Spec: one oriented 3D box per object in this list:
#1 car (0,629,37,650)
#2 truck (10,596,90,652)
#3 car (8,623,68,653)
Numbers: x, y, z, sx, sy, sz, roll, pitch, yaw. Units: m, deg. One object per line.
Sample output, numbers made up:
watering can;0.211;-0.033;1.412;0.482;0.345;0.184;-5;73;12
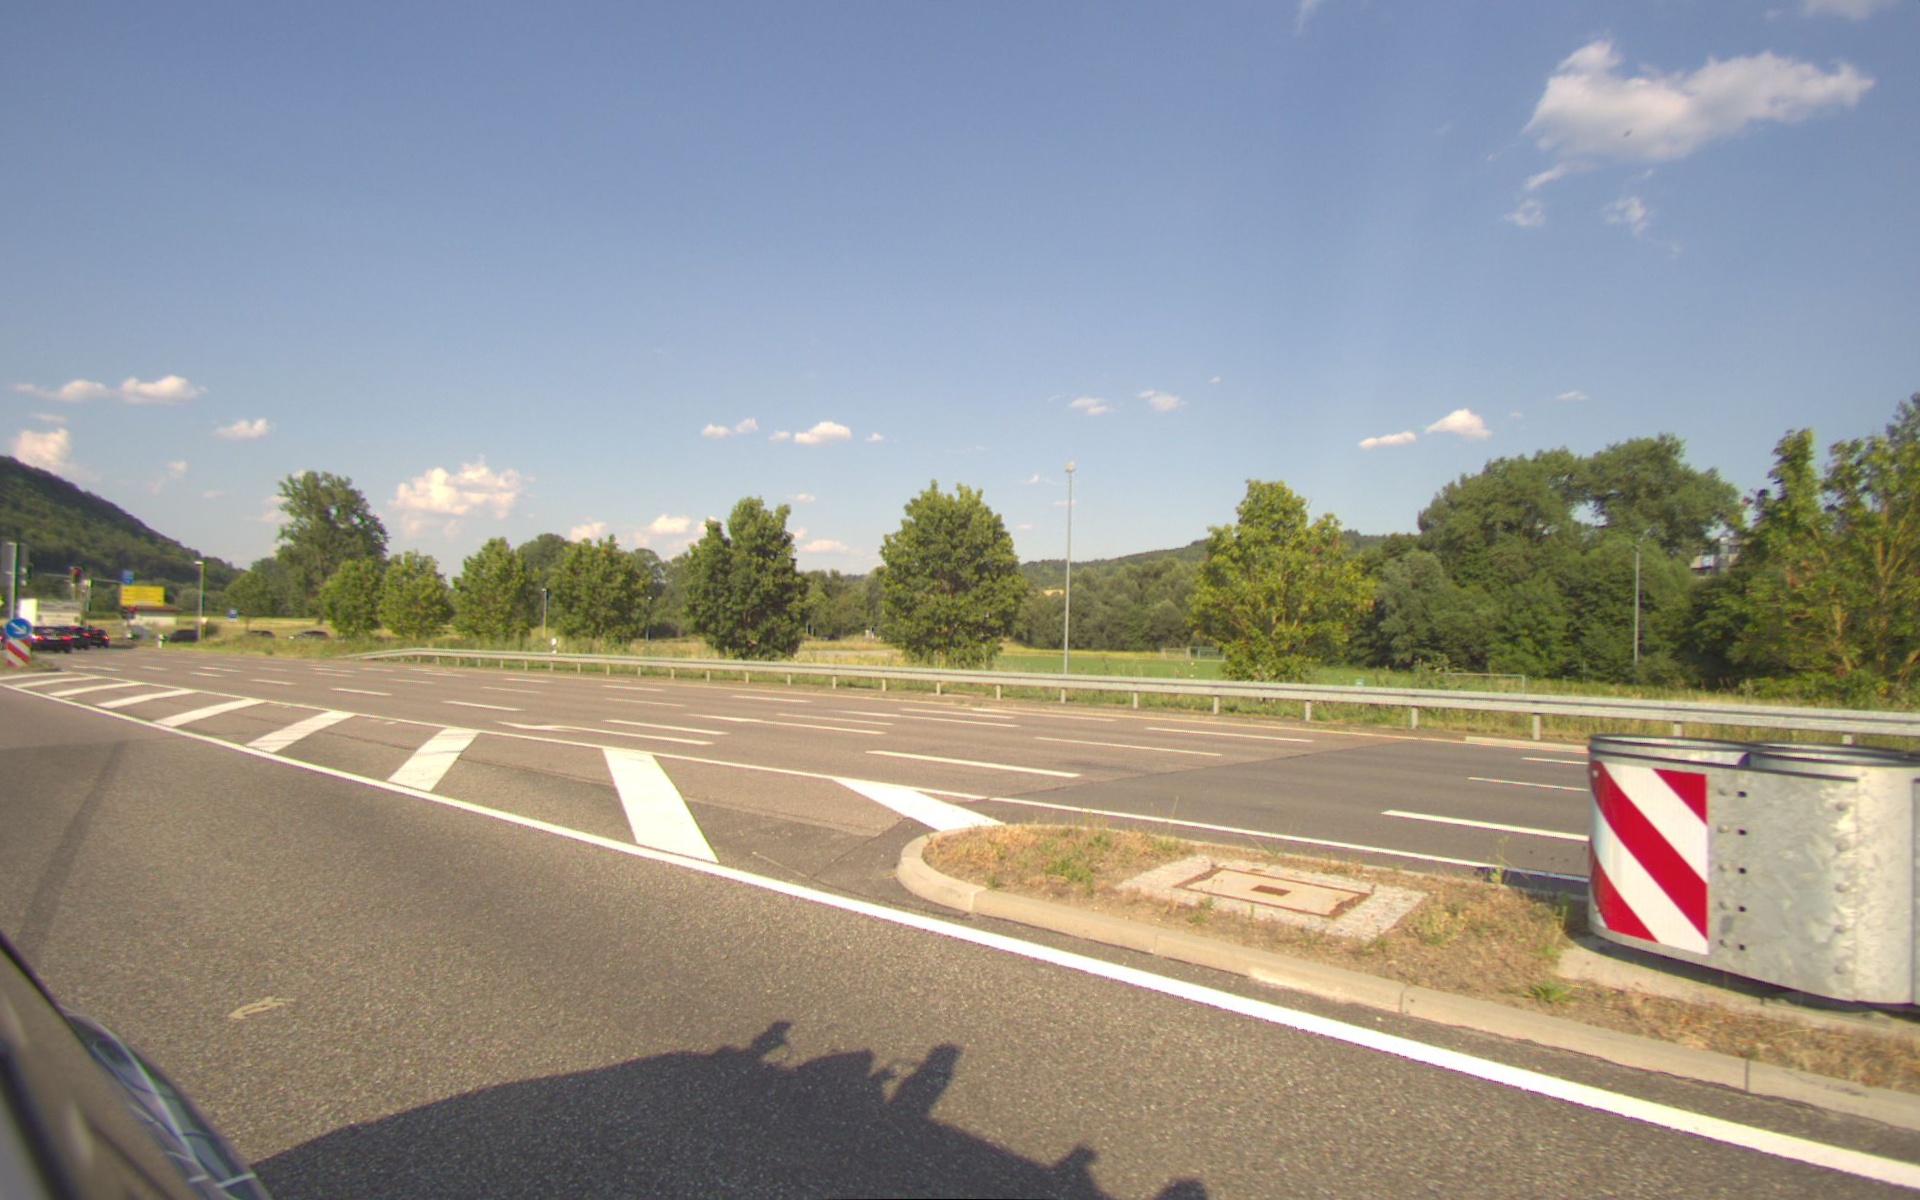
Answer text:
car;-59.384;2.465;63.299;4.813;1.293;1.685;-2;-4;39
truck;-66.692;1.715;74.053;10.494;3.718;2.902;0;-4;41
car;-49.917;2.067;54.757;4.722;1.475;1.698;-2;-5;40
